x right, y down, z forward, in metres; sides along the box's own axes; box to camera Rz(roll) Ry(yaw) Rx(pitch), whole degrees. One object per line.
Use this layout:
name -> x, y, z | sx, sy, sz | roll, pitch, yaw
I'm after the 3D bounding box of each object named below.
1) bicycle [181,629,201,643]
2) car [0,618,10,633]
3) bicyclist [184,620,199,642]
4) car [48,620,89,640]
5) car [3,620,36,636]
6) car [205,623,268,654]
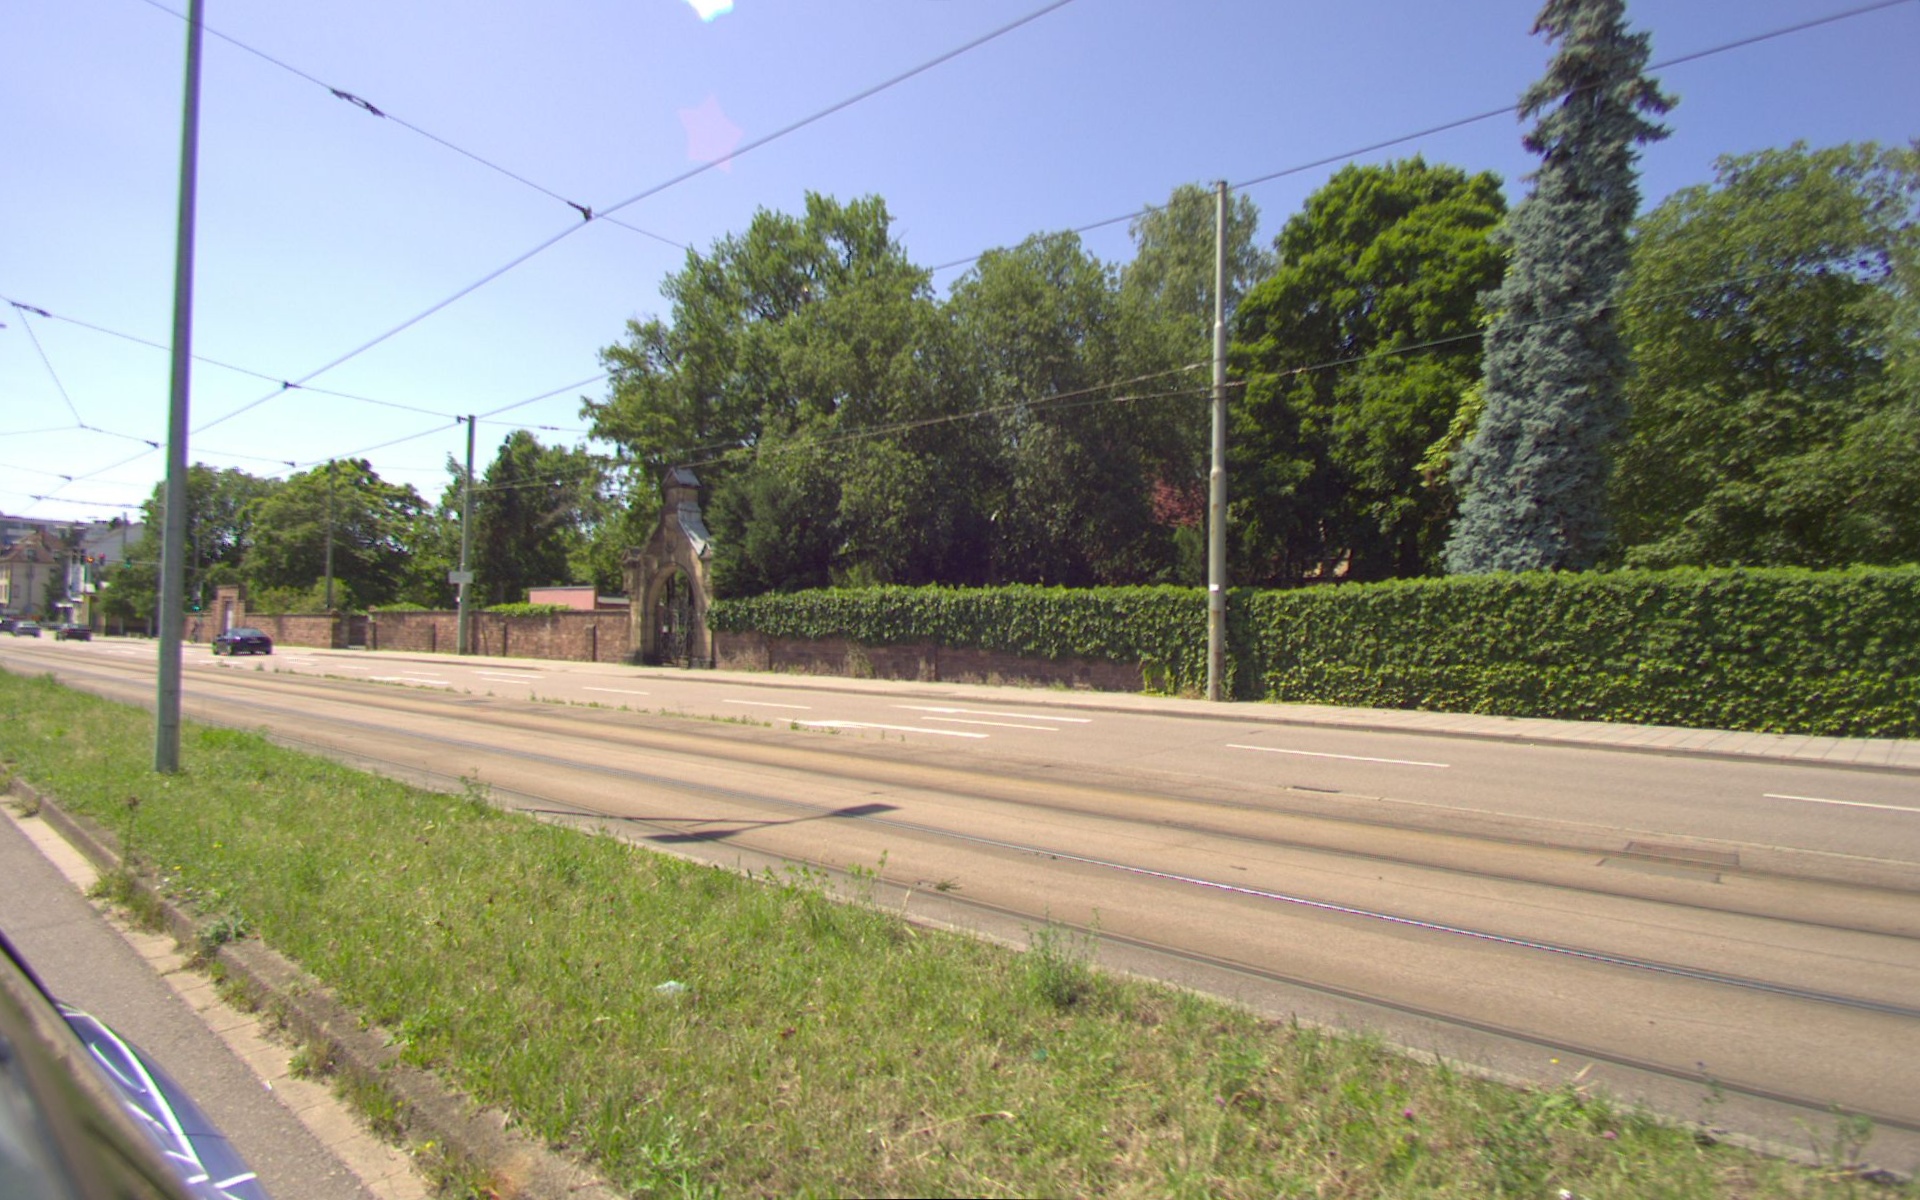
bicycle -> -54.182, 2.545, 71.332 | 2.112, 0.964, 0.646 | -1, -2, 39
car -> -103.387, 2.716, 108.380 | 4.462, 1.567, 1.822 | -1, -3, 40
bicyclist -> -54.198, 2.166, 71.367 | 0.661, 1.508, 0.646 | -1, -2, 39
car -> -70.954, 2.370, 80.526 | 5.031, 1.427, 1.822 | -1, 0, 41
car -> -90.111, 2.689, 96.907 | 4.708, 1.427, 1.822 | -1, 0, 41
car -> -36.106, 1.893, 50.484 | 4.122, 1.459, 1.737 | -1, -1, 42
